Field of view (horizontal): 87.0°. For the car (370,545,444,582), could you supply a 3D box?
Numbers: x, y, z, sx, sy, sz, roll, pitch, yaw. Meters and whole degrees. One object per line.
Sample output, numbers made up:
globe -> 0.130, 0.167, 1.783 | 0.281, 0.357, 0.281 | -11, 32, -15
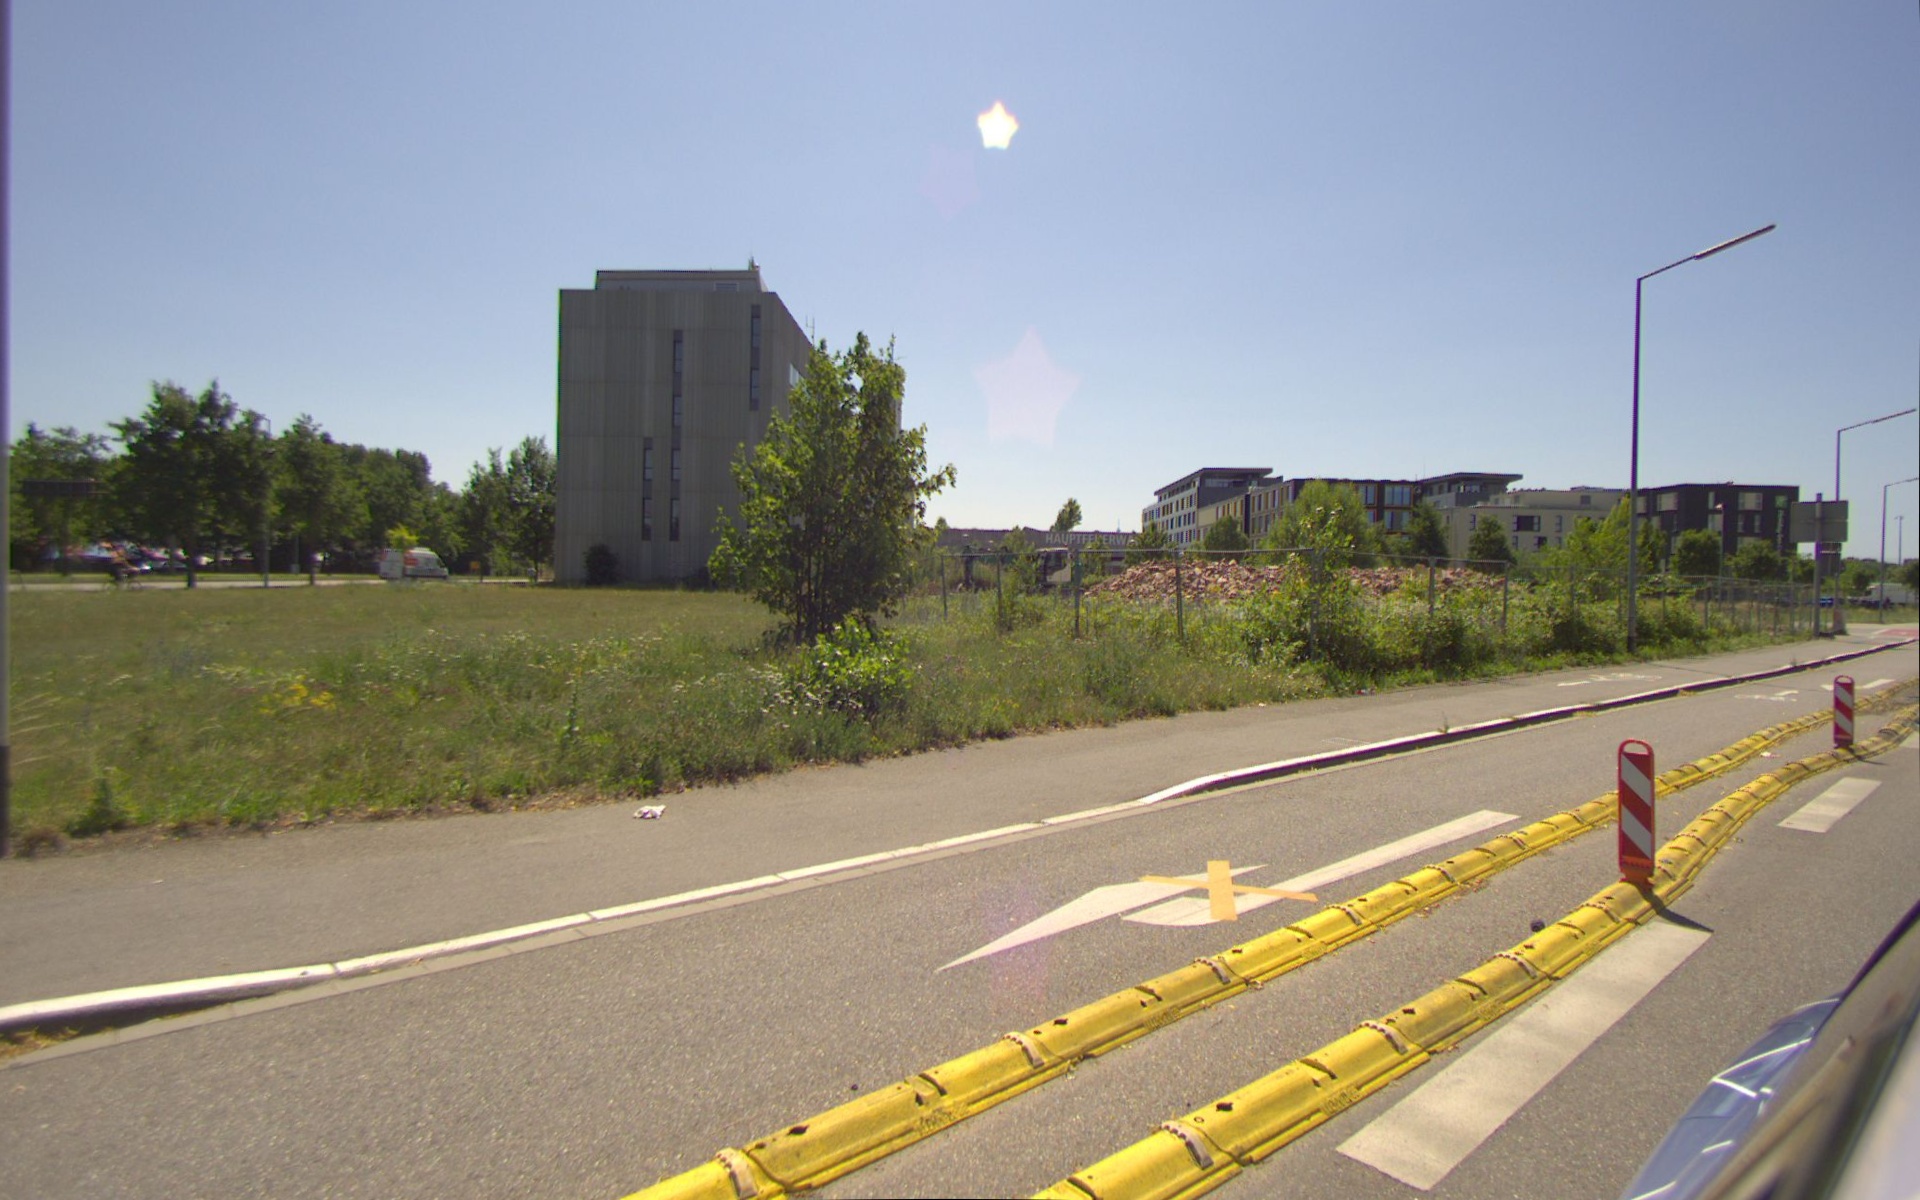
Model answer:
car -> -42.542, -2.769, 78.042 | 2.220, 2.622, 6.394 | 0, 0, 0

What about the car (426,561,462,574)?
car -> -59.712, -3.734, 117.156 | 1.830, 1.440, 4.407 | 1, 1, 2

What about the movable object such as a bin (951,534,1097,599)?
movable object such as a bin -> 3.417, -1.710, 53.077 | 7.458, 3.188, 2.815 | -1, 0, -34
